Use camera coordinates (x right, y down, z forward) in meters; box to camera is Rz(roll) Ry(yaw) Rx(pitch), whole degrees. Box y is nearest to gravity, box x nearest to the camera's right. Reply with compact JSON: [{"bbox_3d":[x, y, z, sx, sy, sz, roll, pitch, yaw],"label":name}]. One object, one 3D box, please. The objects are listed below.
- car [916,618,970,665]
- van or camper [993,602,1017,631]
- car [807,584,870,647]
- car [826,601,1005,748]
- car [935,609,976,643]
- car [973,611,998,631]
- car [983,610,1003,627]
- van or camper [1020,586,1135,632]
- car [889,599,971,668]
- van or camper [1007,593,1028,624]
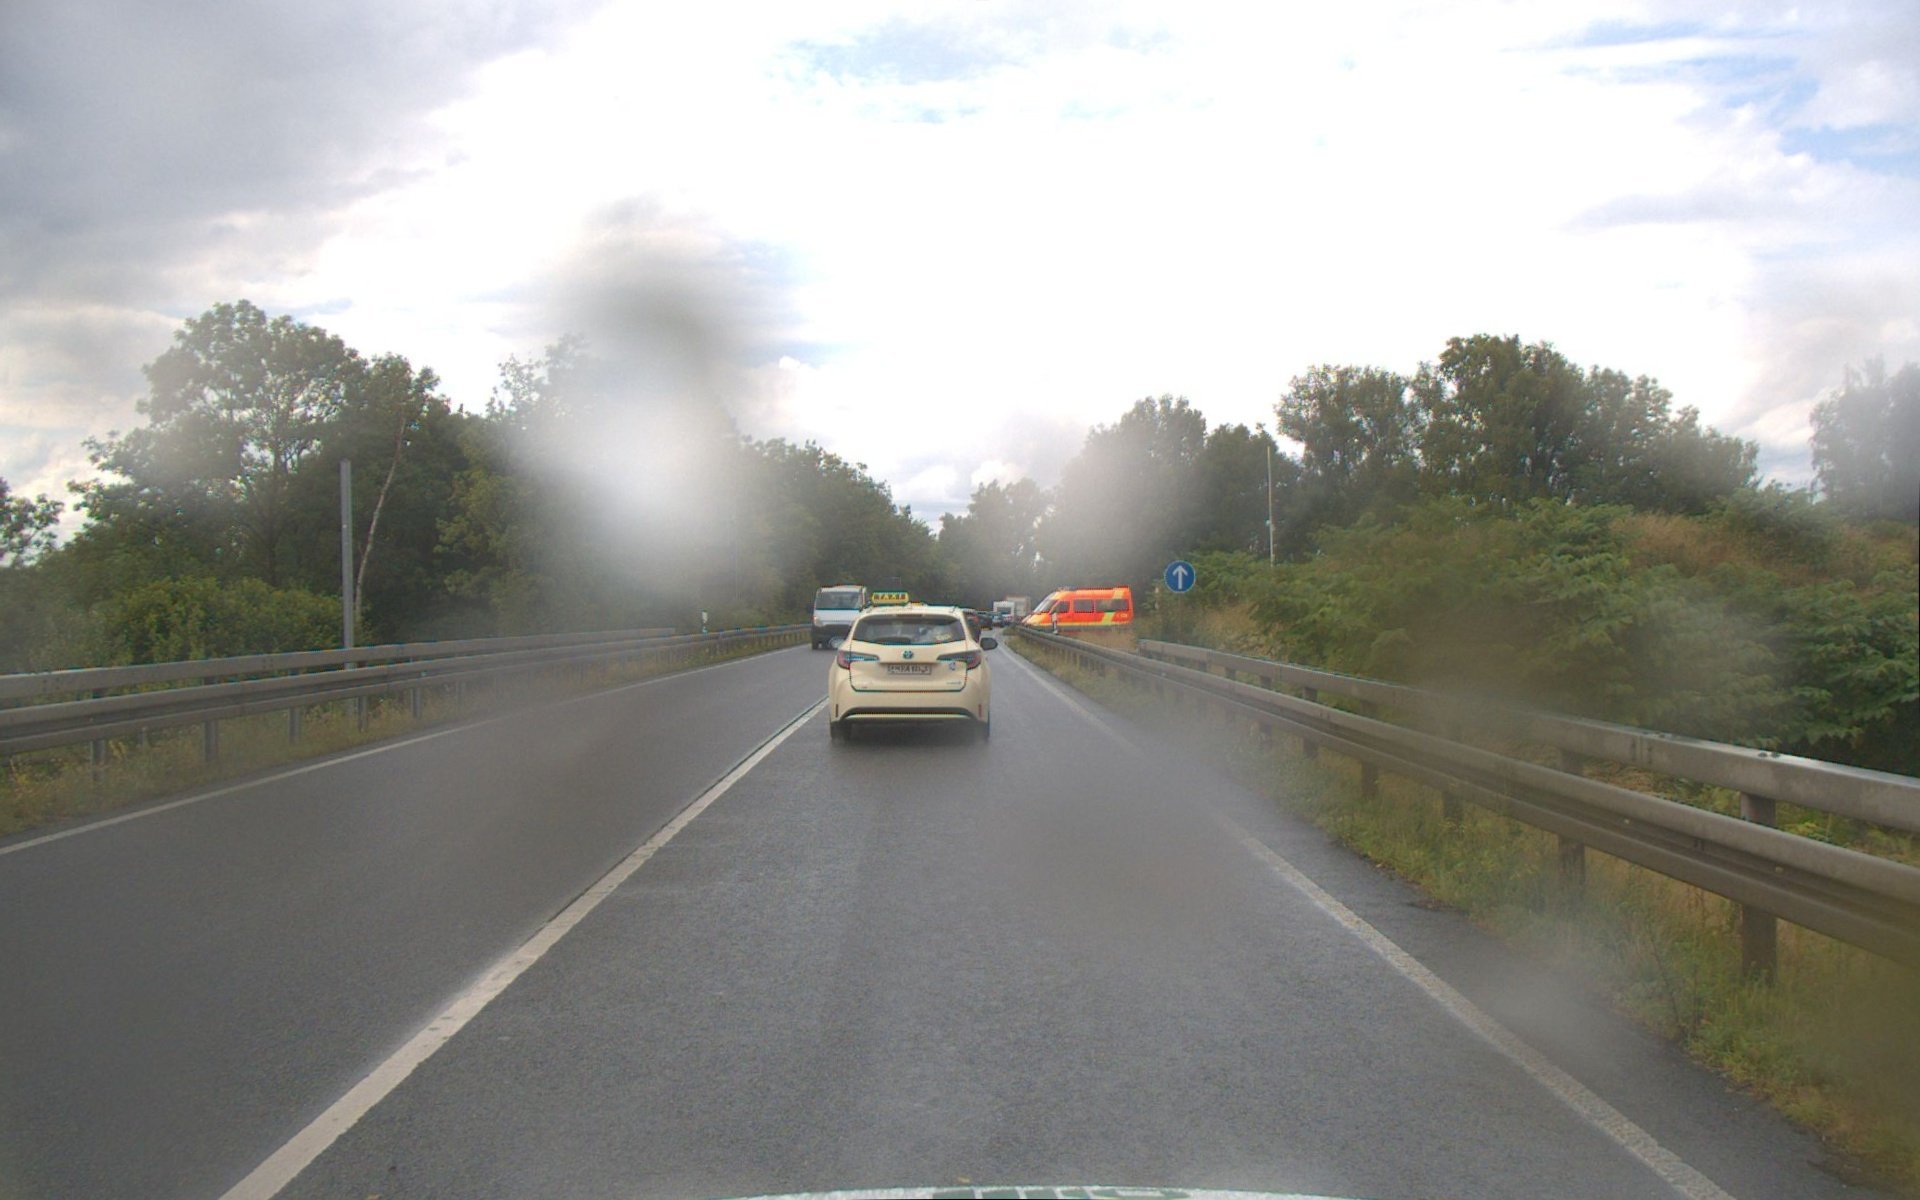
[{"bbox_3d":[-0.632,1.425,57.822,1.817,1.468,4.170,1,1,-2],"label":"car"},{"bbox_3d":[4.723,1.683,175.126,2.285,2.914,6.306,1,0,0],"label":"van or camper"},{"bbox_3d":[-4.363,0.527,60.071,1.953,2.165,4.894,1,0,-1],"label":"car"},{"bbox_3d":[-0.512,0.764,18.924,1.817,1.418,4.170,1,1,-2],"label":"car"},{"bbox_3d":[-0.238,1.213,77.747,1.817,1.468,4.170,1,1,-2],"label":"car"},{"bbox_3d":[1.978,1.626,127.279,1.816,1.468,4.172,1,0,2],"label":"car"},{"bbox_3d":[3.107,1.737,155.235,1.816,1.468,4.172,1,0,2],"label":"car"},{"bbox_3d":[6.028,0.462,85.039,5.586,2.280,2.011,0,0,-16],"label":"van or camper"},{"bbox_3d":[-0.736,0.739,38.933,1.817,1.468,4.170,1,1,-2],"label":"car"},{"bbox_3d":[6.962,1.021,200.323,2.285,3.625,6.306,1,0,0],"label":"van or camper"}]
